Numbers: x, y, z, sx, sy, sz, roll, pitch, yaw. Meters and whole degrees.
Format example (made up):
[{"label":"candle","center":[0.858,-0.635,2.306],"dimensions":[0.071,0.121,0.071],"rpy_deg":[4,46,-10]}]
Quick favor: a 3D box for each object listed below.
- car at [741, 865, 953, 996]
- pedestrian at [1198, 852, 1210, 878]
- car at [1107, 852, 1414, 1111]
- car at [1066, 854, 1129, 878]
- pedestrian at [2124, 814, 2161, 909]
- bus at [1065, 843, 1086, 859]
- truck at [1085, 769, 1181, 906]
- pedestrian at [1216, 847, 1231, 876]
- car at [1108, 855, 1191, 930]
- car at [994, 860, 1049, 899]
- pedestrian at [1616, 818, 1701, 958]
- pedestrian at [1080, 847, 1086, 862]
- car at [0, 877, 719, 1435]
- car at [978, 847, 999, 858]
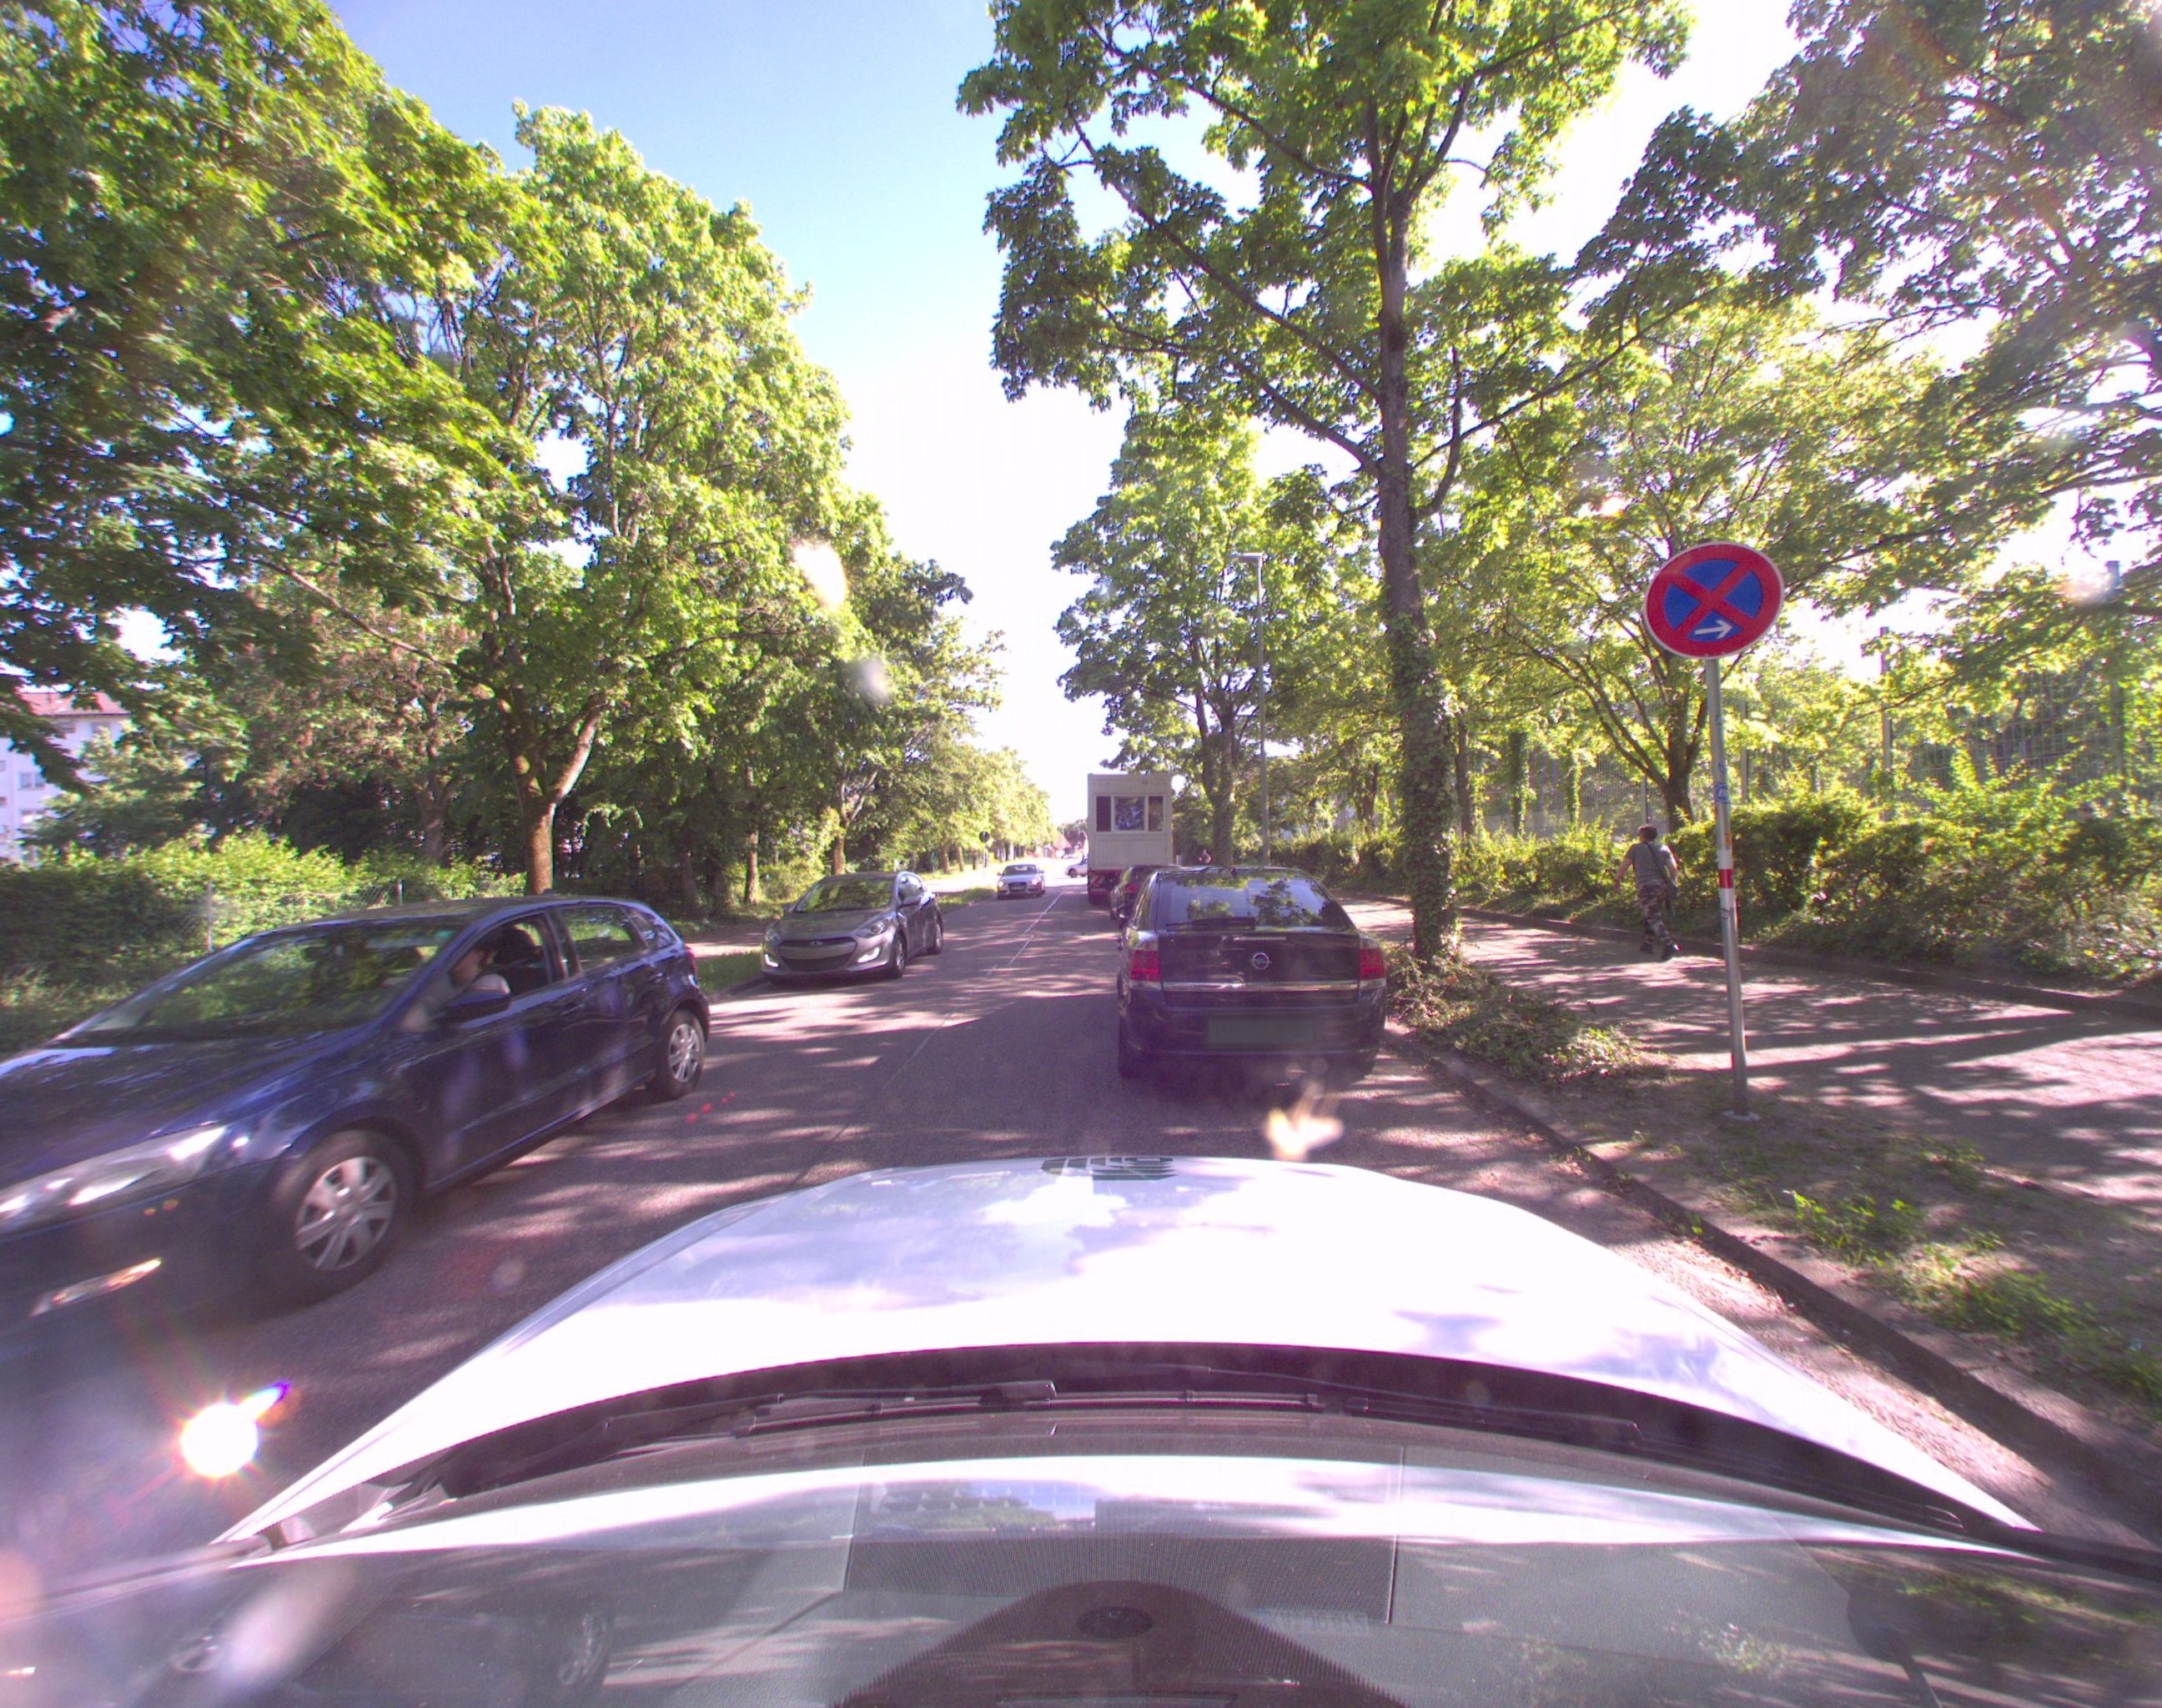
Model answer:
[{"label":"car","center":[-3.256,0.990,12.283],"dimensions":[1.748,1.454,4.245],"rpy_deg":[-3,0,2]},{"label":"pedestrian","center":[7.908,0.686,52.210],"dimensions":[0.597,1.611,0.600],"rpy_deg":[-3,0,-2]},{"label":"car","center":[1.136,0.761,6.741],"dimensions":[1.741,1.480,4.033],"rpy_deg":[-1,-1,3]},{"label":"car","center":[1.166,0.813,56.878],"dimensions":[3.909,1.420,1.822],"rpy_deg":[-4,0,26]},{"label":"pedestrian","center":[14.441,0.099,10.790],"dimensions":[0.555,1.240,0.548],"rpy_deg":[0,0,21]},{"label":"bus","center":[-1.205,-0.642,183.897],"dimensions":[4.048,3.349,9.809],"rpy_deg":[-3,0,3]},{"label":"truck","center":[1.575,-0.495,28.972],"dimensions":[2.763,3.996,10.348],"rpy_deg":[0,0,0]},{"label":"pedestrian","center":[9.164,0.455,52.378],"dimensions":[0.696,1.812,0.699],"rpy_deg":[-3,0,-2]},{"label":"car","center":[1.515,0.786,18.728],"dimensions":[1.633,1.420,4.003],"rpy_deg":[-3,0,3]},{"label":"car","center":[-2.425,1.023,34.338],"dimensions":[1.780,1.416,4.107],"rpy_deg":[-3,0,2]},{"label":"pedestrian","center":[6.879,0.390,9.729],"dimensions":[0.568,1.608,0.673],"rpy_deg":[-1,0,10]},{"label":"pedestrian","center":[0.320,0.029,112.061],"dimensions":[0.749,2.113,0.800],"rpy_deg":[0,0,4]},{"label":"car","center":[-3.526,0.938,4.122],"dimensions":[1.595,1.426,3.653],"rpy_deg":[-3,0,1]},{"label":"car","center":[-19.645,-0.356,172.854],"dimensions":[3.971,2.013,2.001],"rpy_deg":[-4,0,2]}]
